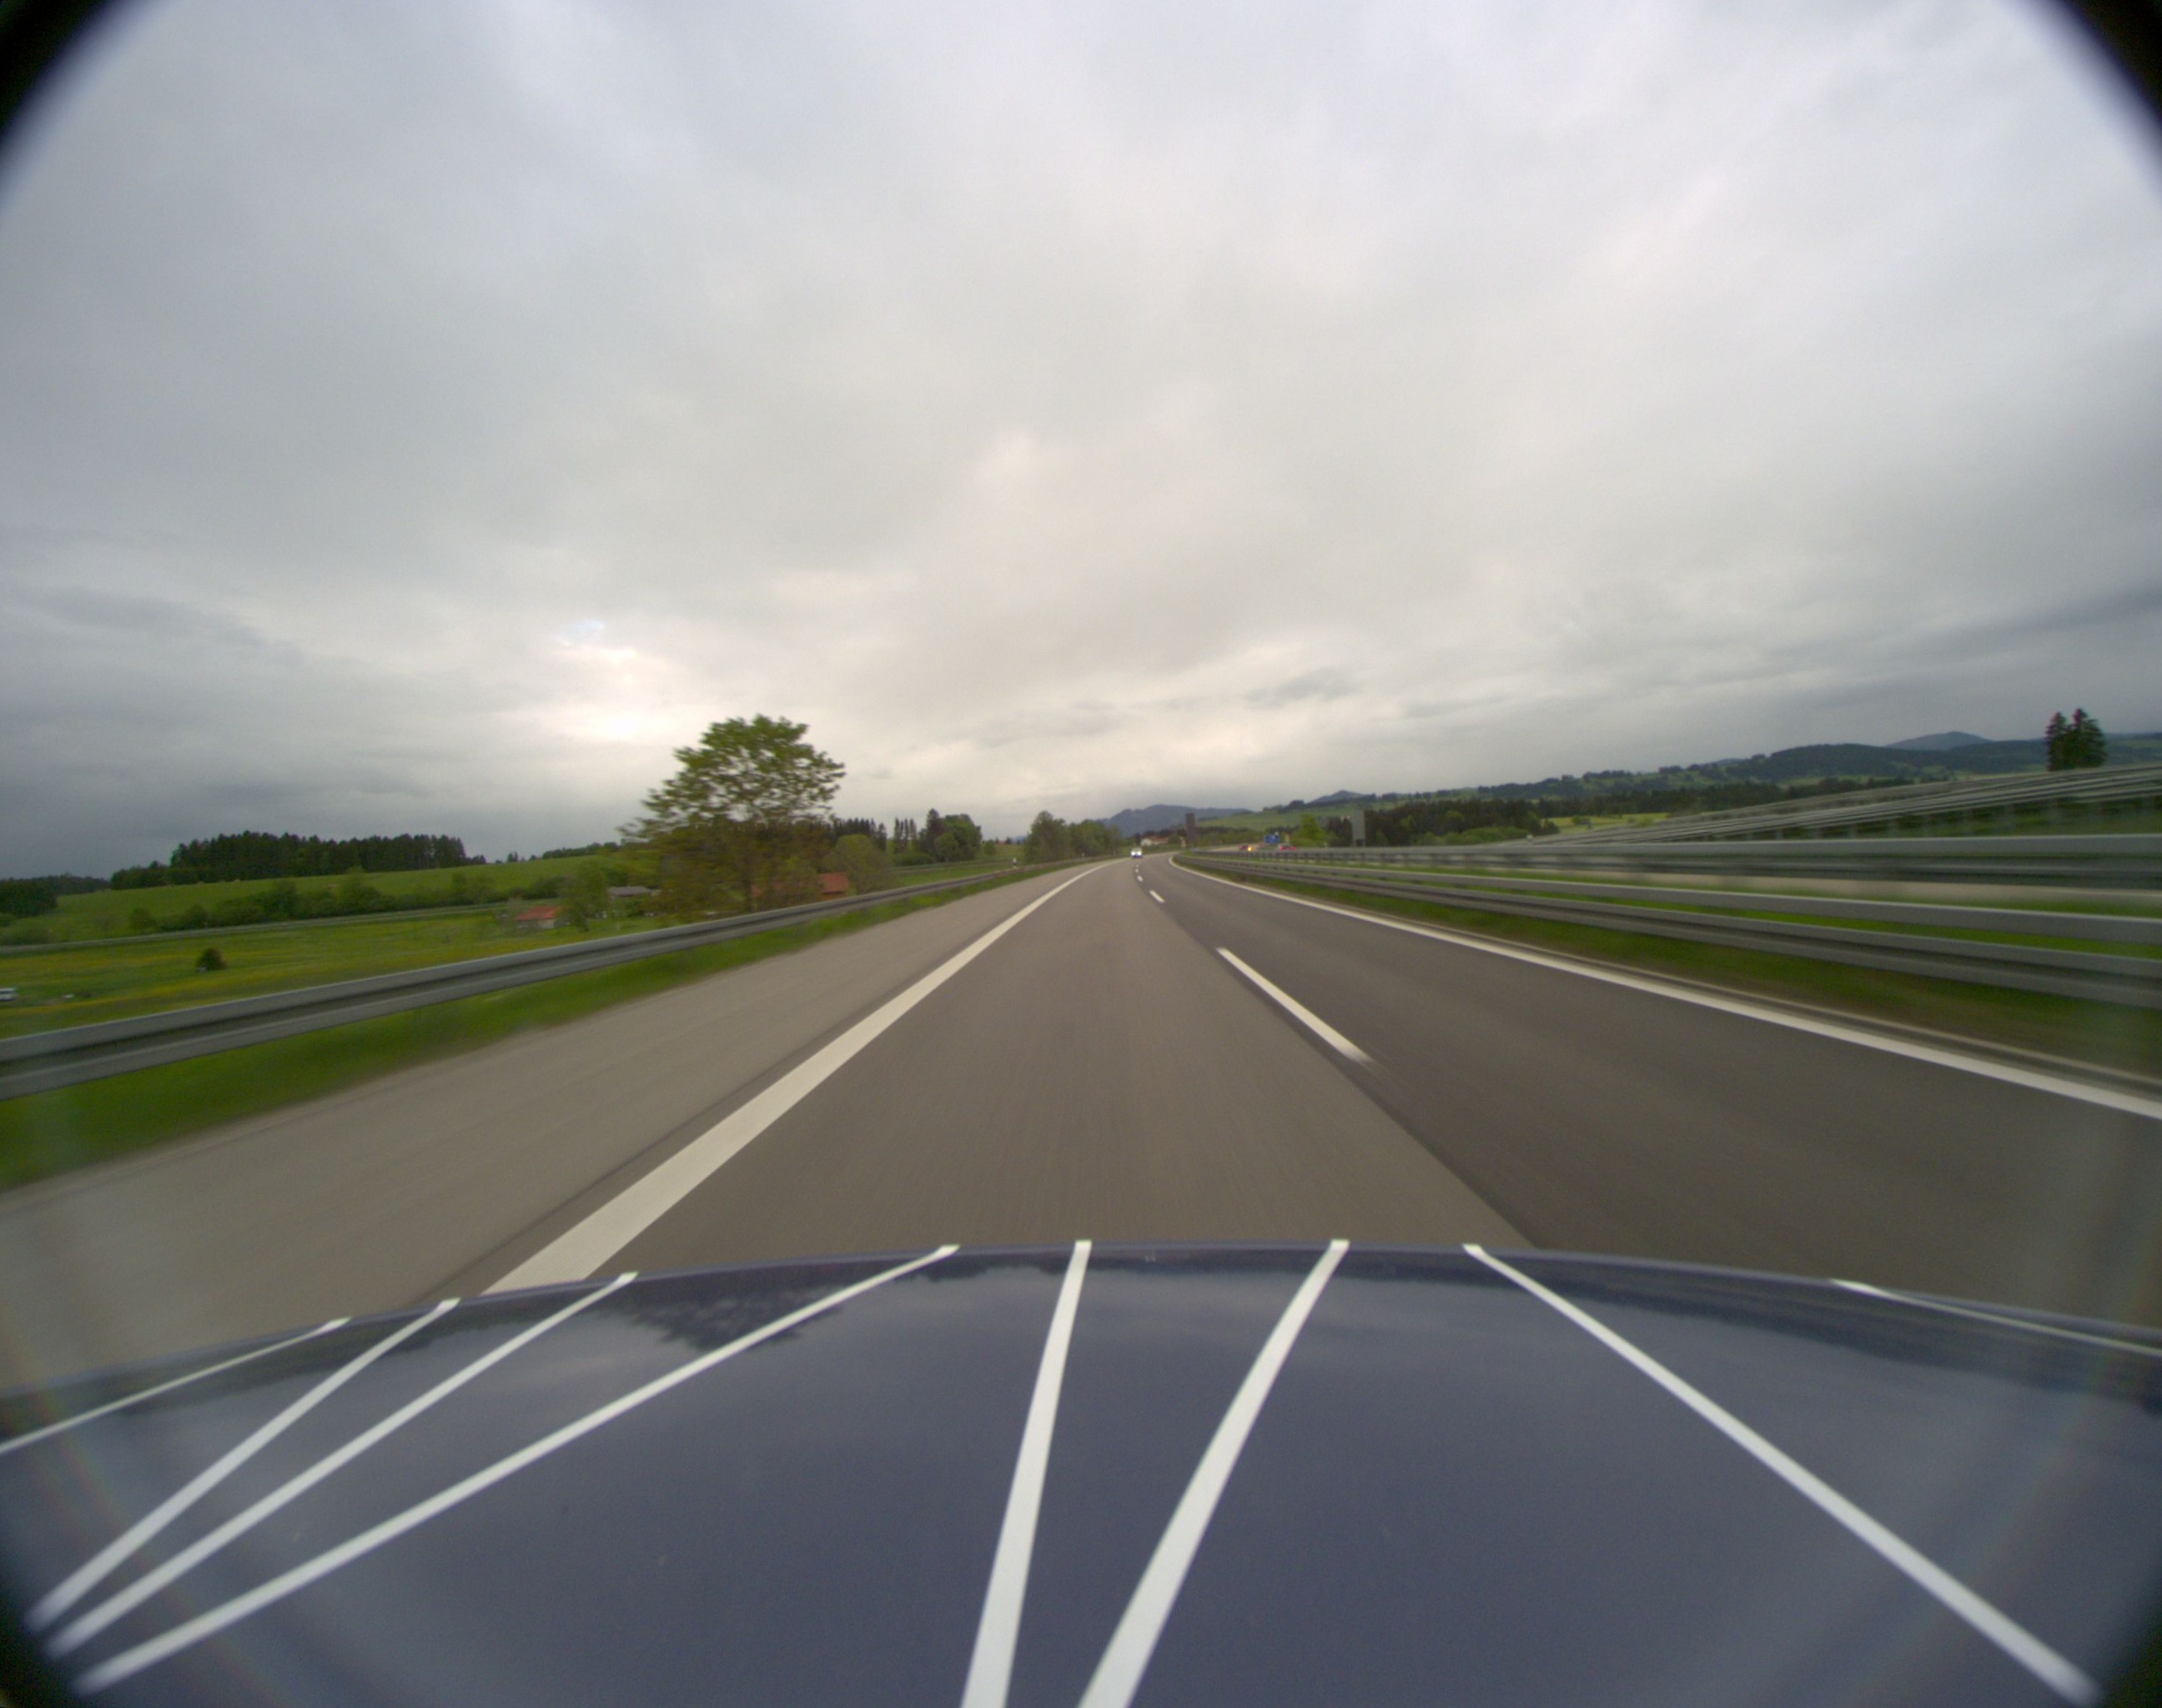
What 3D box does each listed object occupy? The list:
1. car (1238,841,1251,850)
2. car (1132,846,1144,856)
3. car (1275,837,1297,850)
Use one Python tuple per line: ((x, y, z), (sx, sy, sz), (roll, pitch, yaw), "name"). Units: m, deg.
((28.440, -1.425, 132.295), (1.997, 1.409, 4.002), (-5, 0, 9), "car")
((10.861, -0.546, 144.656), (2.020, 1.899, 4.222), (-2, 0, 6), "car")
((26.873, -1.377, 99.811), (1.998, 1.431, 5.002), (-5, 0, 7), "car")
